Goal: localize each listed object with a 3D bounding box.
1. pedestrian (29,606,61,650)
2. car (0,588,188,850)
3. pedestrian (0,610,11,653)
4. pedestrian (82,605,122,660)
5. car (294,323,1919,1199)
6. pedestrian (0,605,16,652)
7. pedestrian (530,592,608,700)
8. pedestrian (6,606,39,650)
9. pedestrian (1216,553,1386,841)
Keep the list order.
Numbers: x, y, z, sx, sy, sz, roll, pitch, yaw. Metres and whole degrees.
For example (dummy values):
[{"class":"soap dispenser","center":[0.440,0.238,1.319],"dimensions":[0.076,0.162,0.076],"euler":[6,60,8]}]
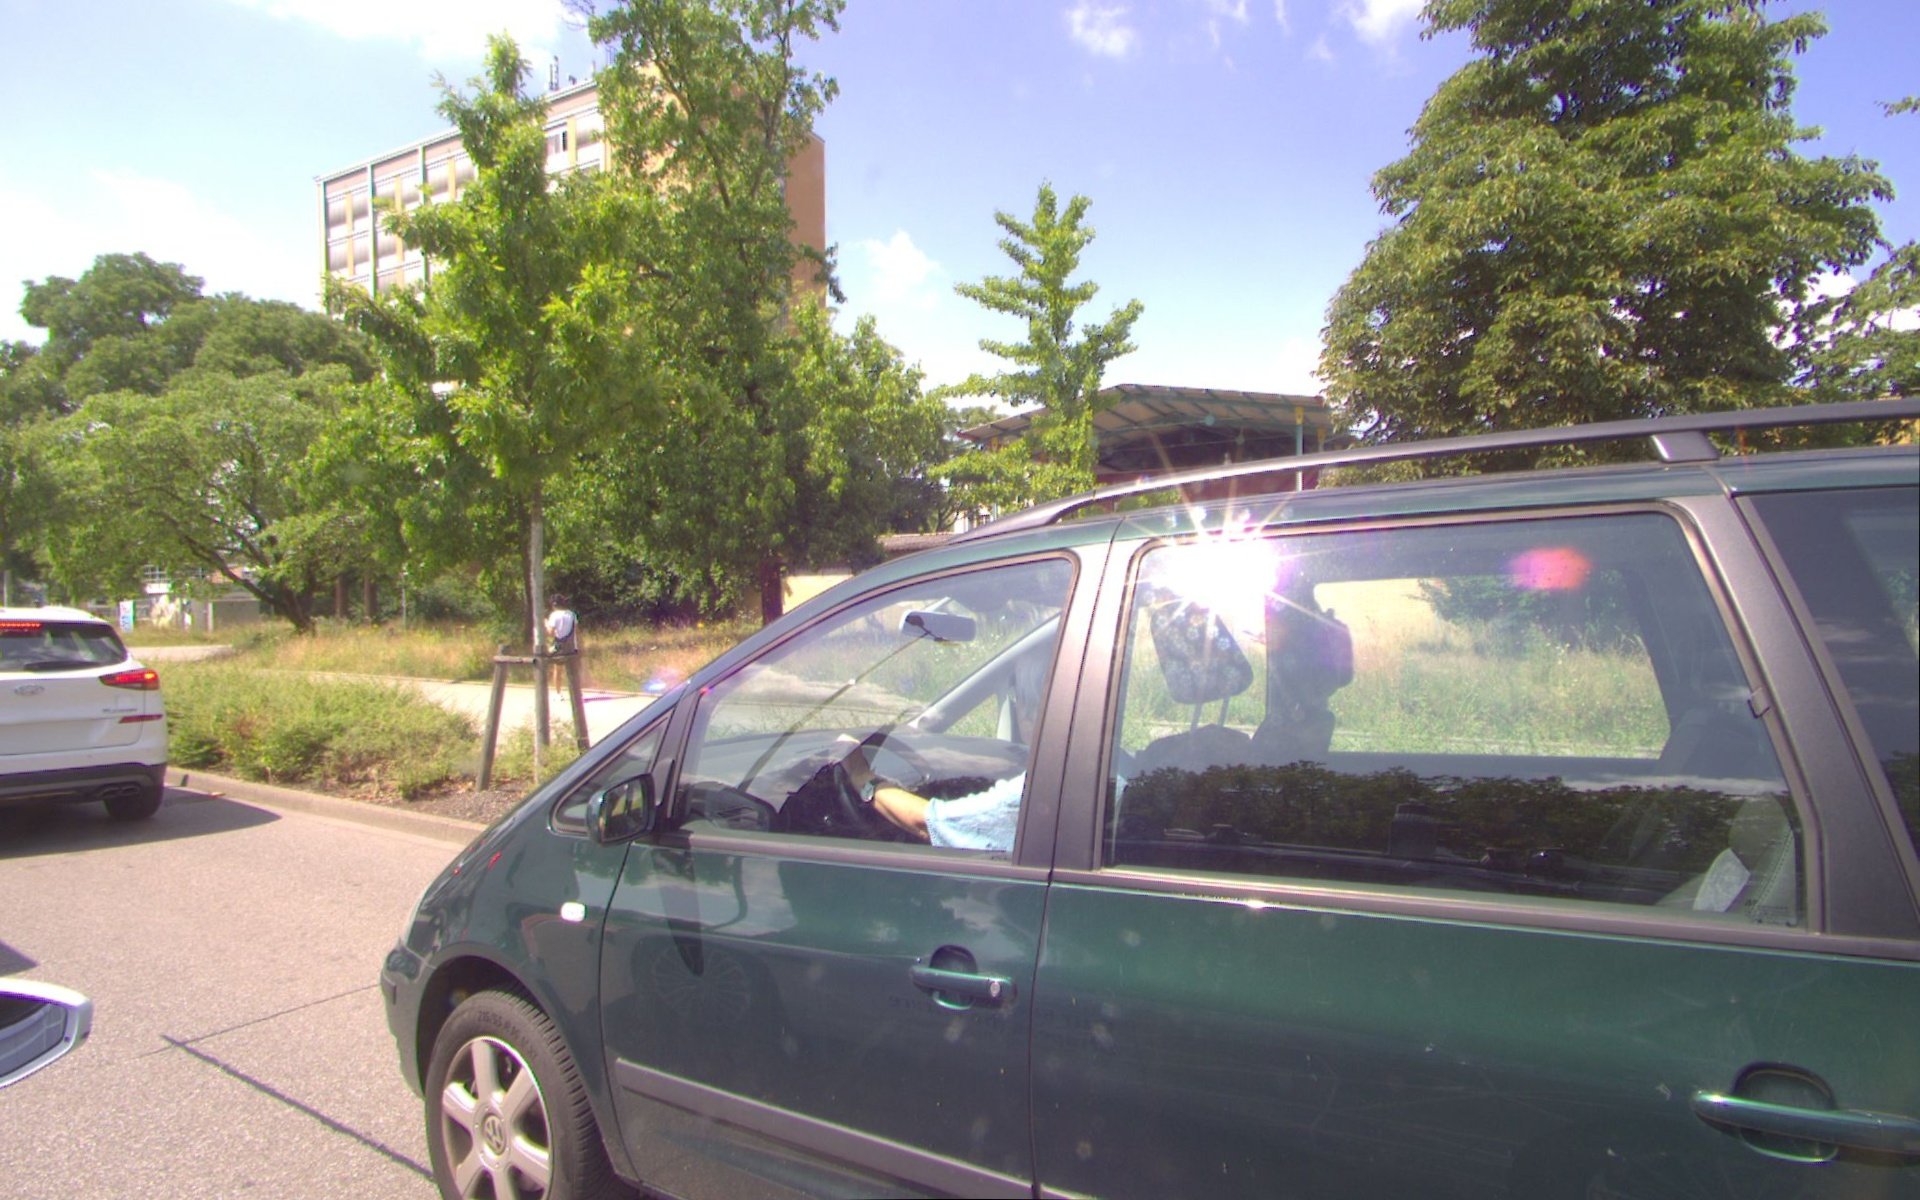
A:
[{"class":"pedestrian","center":[-39.859,1.214,43.616],"dimensions":[0.803,1.874,0.759],"euler":[0,0,24]},{"class":"car","center":[-7.800,0.788,7.707],"dimensions":[3.919,1.700,1.810],"euler":[0,0,34]},{"class":"pedestrian","center":[-42.725,1.403,44.397],"dimensions":[0.804,1.874,0.758],"euler":[0,1,30]},{"class":"pedestrian","center":[-26.359,0.985,30.770],"dimensions":[0.805,1.677,0.756],"euler":[0,1,36]},{"class":"car","center":[0.551,0.635,2.275],"dimensions":[4.329,1.737,1.799],"euler":[0,-2,32]},{"class":"pedestrian","center":[-37.449,1.104,39.128],"dimensions":[0.806,1.813,0.755],"euler":[0,0,40]},{"class":"pedestrian","center":[-5.896,0.675,15.110],"dimensions":[0.805,1.578,0.757],"euler":[0,1,33]},{"class":"pedestrian","center":[-39.962,1.183,42.696],"dimensions":[0.802,1.874,0.759],"euler":[0,1,22]},{"class":"pedestrian","center":[2.209,0.578,6.492],"dimensions":[0.807,1.706,0.754],"euler":[0,1,44]}]
